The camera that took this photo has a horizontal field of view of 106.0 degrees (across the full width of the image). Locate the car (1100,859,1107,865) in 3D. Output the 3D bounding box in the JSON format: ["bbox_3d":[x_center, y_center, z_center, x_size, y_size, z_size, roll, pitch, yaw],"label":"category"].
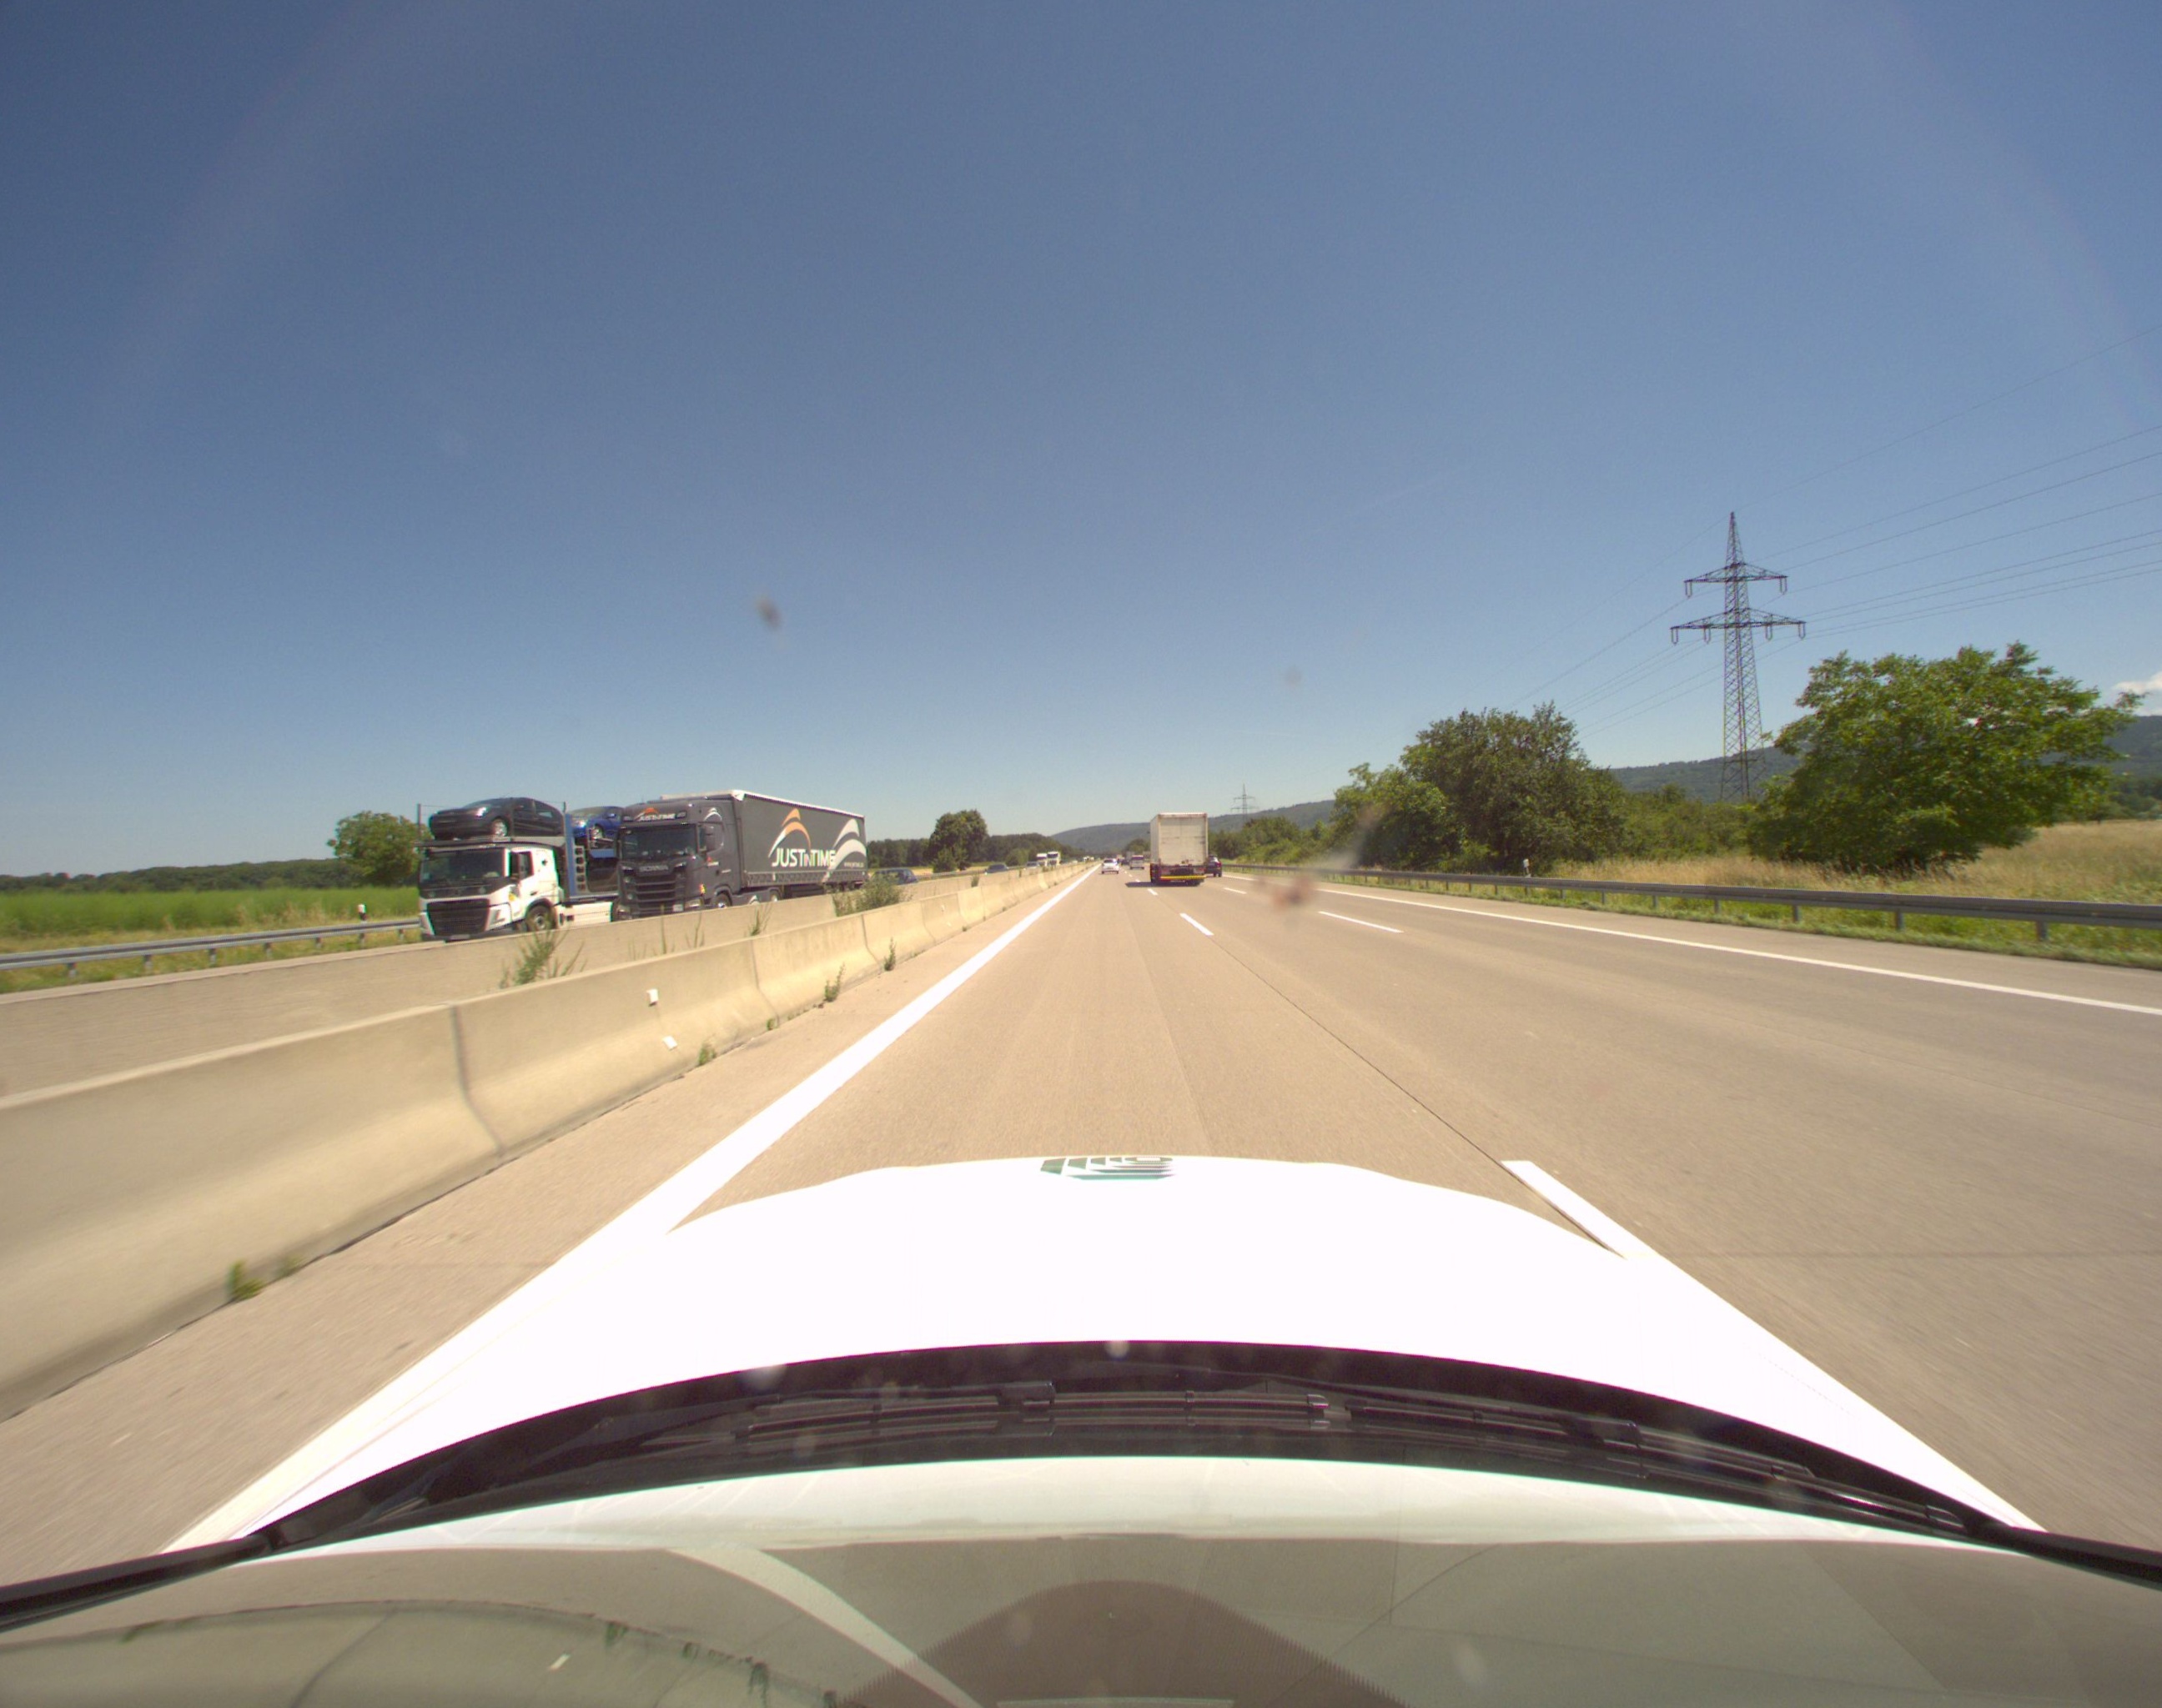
[{"bbox_3d":[6.232,2.229,229.476,1.922,1.794,4.001,0,0,1],"label":"car"}]

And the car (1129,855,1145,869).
[{"bbox_3d":[7.737,1.129,112.093,1.986,1.849,4.001,0,0,1],"label":"car"}]

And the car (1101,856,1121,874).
[{"bbox_3d":[2.988,1.077,81.742,1.813,1.662,4.000,-1,0,1],"label":"car"}]

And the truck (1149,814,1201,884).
[{"bbox_3d":[5.416,-0.276,47.598,2.572,3.878,4.985,0,0,1],"label":"truck"}]

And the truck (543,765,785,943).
[{"bbox_3d":[-12.110,0.017,24.672,3.255,4.476,7.192,-3,0,2],"label":"truck"}]

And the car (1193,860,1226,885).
[{"bbox_3d":[9.831,1.404,62.613,1.986,1.849,4.001,1,0,1],"label":"car"}]

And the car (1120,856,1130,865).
[{"bbox_3d":[9.077,1.273,168.944,1.987,1.849,4.000,1,0,0],"label":"car"}]

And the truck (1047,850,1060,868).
[{"bbox_3d":[-6.420,1.180,190.452,2.890,3.970,5.047,0,0,1],"label":"truck"}]

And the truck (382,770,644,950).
[{"bbox_3d":[-16.341,0.174,24.149,3.219,4.606,6.253,0,0,2],"label":"truck"}]

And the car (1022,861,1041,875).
[{"bbox_3d":[-5.880,1.656,97.442,1.875,1.695,4.684,0,0,2],"label":"car"}]

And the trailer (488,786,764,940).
[{"bbox_3d":[-16.147,0.308,30.759,3.219,4.606,12.298,0,0,2],"label":"trailer"}]

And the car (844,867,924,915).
[{"bbox_3d":[-7.961,1.444,33.388,1.986,1.783,4.745,0,0,2],"label":"car"}]

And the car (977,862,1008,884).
[{"bbox_3d":[-6.984,1.467,64.675,1.898,1.651,4.933,0,0,1],"label":"car"}]

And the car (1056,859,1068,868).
[{"bbox_3d":[-3.676,1.900,159.650,1.855,1.729,4.144,0,0,4],"label":"car"}]

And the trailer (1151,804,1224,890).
[{"bbox_3d":[5.287,-0.306,42.131,2.572,3.878,10.374,0,0,1],"label":"trailer"}]

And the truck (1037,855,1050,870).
[{"bbox_3d":[-9.837,2.251,215.314,2.792,3.687,7.239,0,0,2],"label":"truck"}]

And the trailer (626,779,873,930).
[{"bbox_3d":[-11.964,0.057,32.068,3.255,4.475,14.456,-3,0,2],"label":"trailer"}]
